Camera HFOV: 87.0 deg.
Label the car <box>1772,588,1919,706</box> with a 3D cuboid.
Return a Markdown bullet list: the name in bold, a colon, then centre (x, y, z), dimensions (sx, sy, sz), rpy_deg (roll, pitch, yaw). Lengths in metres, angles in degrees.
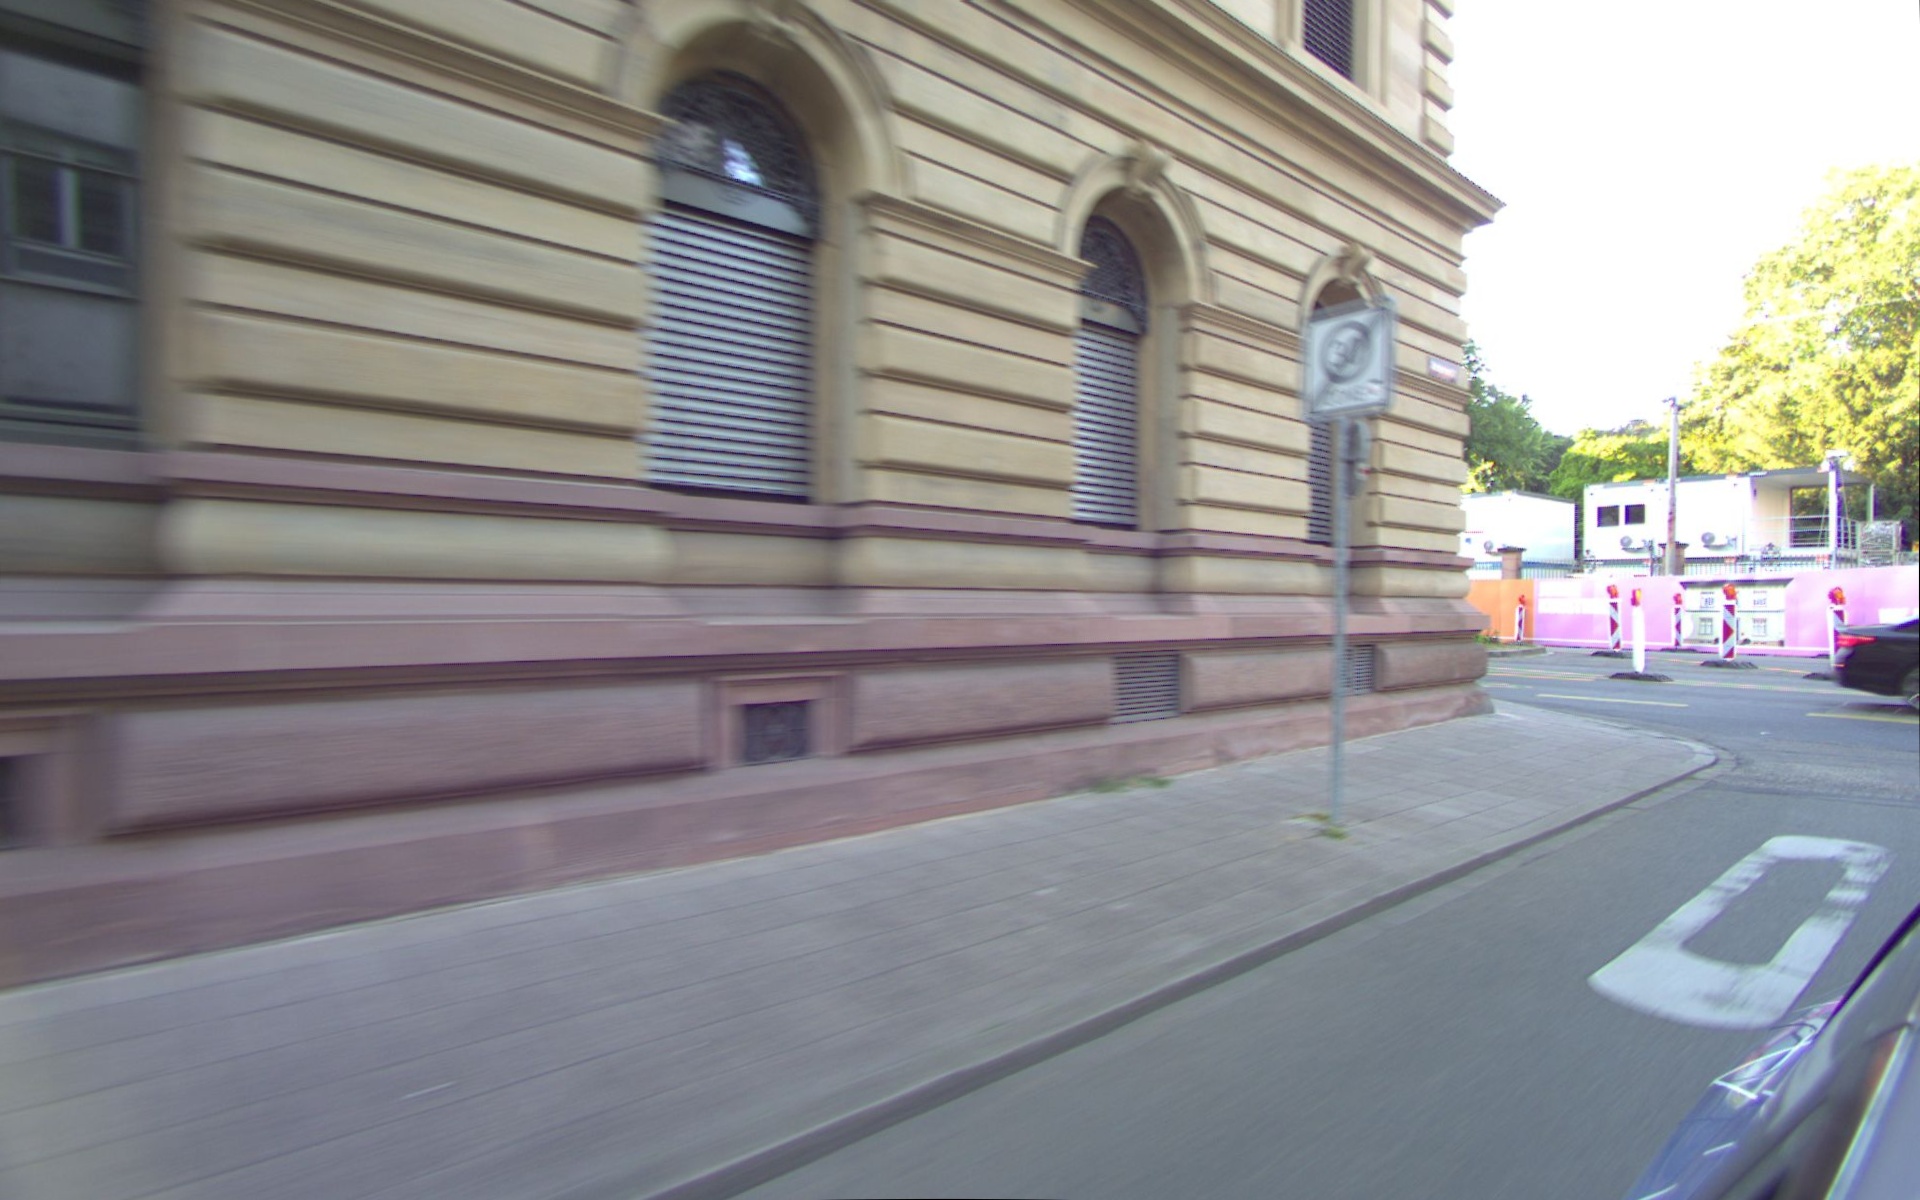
- **car**: centre (12.771, 0.568, 11.844), dimensions (1.928, 1.404, 4.781), rpy_deg (0, 1, -35)
